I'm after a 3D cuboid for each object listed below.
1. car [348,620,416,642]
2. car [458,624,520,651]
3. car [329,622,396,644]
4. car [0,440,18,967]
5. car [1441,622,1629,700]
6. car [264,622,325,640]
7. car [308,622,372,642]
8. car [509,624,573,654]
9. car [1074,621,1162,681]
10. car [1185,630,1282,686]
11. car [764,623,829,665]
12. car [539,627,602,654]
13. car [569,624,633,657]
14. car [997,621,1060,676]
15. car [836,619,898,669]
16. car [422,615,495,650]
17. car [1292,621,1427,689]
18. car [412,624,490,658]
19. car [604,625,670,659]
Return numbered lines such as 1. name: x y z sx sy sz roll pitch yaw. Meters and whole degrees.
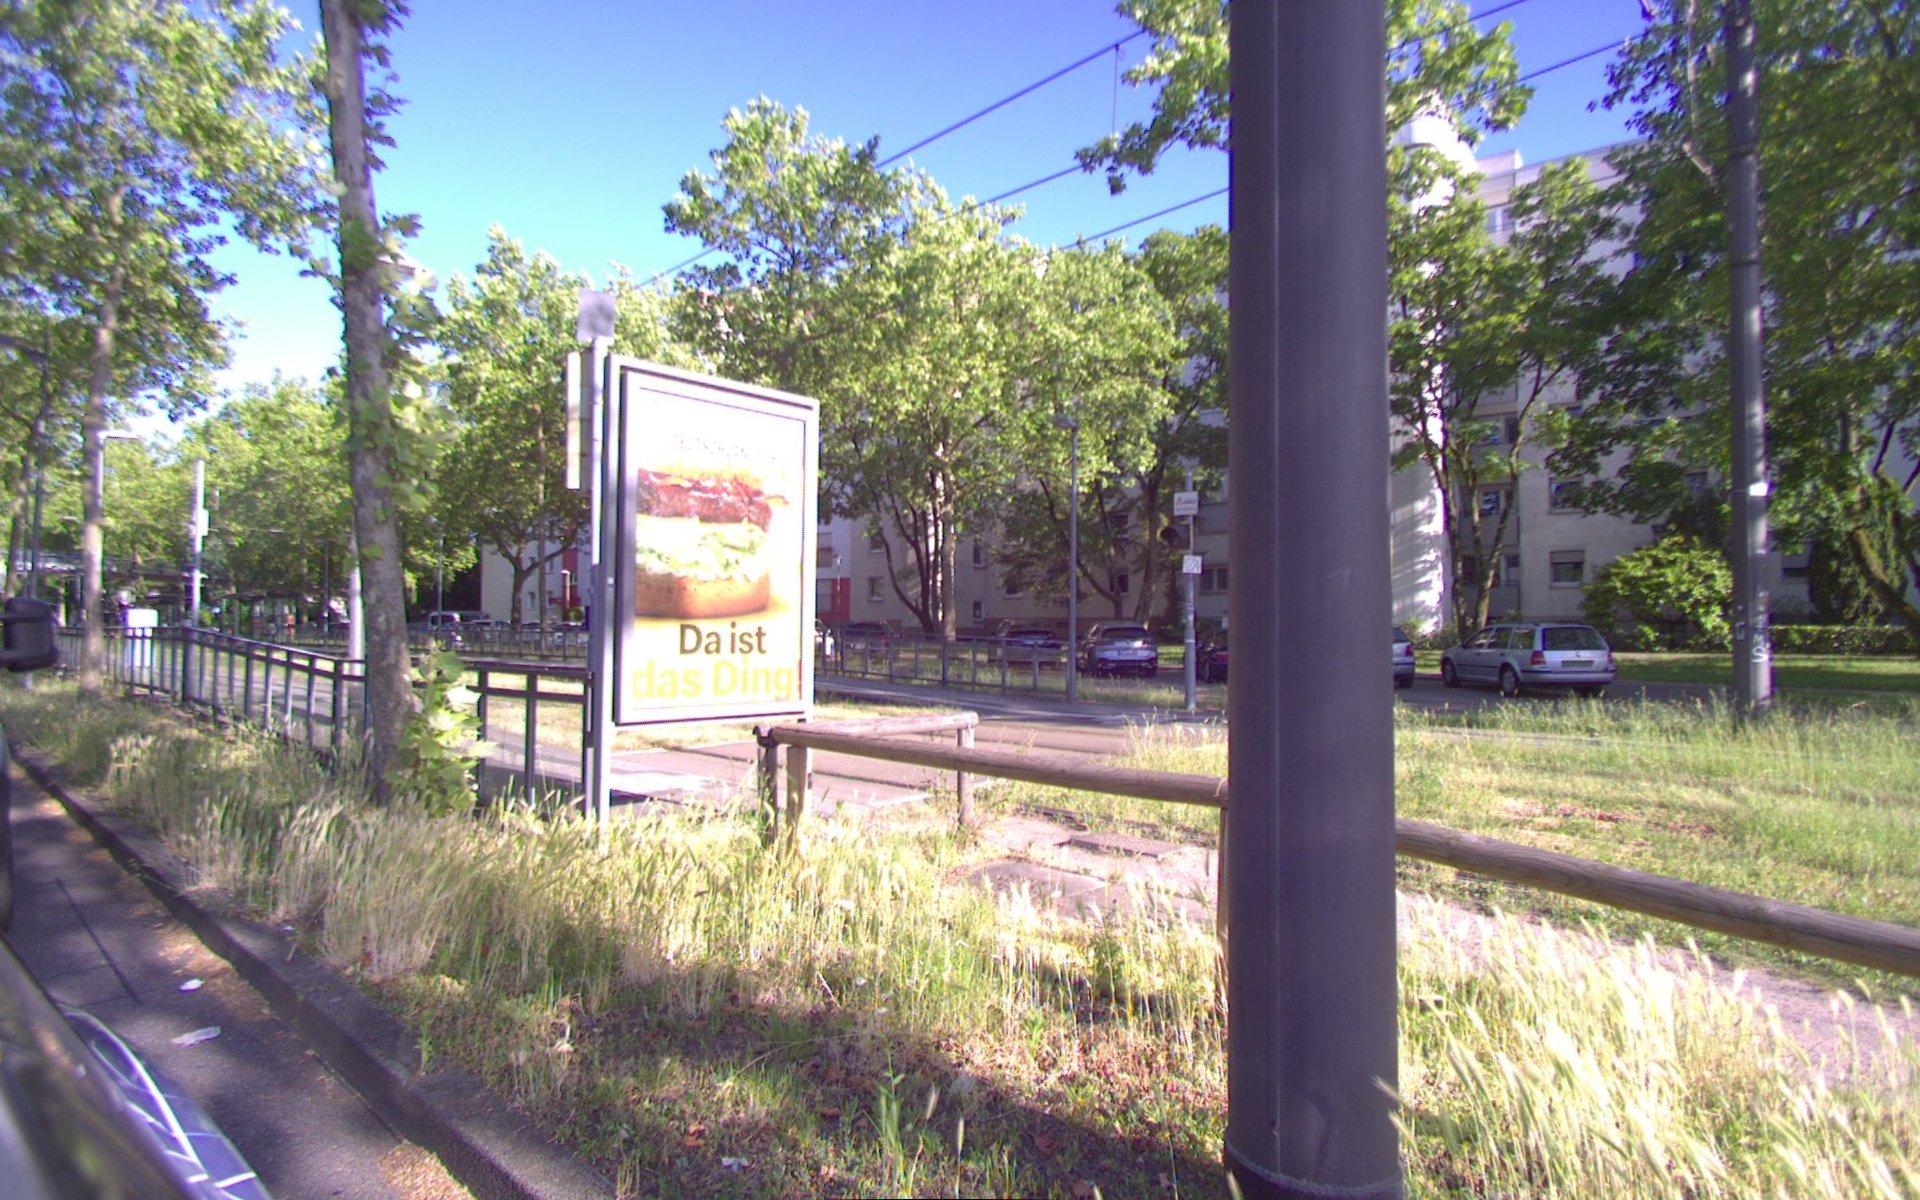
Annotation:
1. car: -37.910 2.029 66.525 1.898 1.386 4.365 0 -1 1
2. car: -25.798 2.029 55.521 1.627 1.407 3.680 0 -1 1
3. car: -40.282 2.197 68.394 1.898 1.386 4.365 0 -1 1
4. car: -6.425 0.449 5.056 5.111 2.131 2.014 -1 -1 41
5. car: 11.548 1.173 20.630 1.707 1.444 3.681 0 -1 1
6. car: -52.145 2.397 79.367 1.898 1.386 4.365 0 -1 1
7. car: -44.644 2.275 72.987 1.898 1.386 4.365 0 -1 1
8. car: -21.123 1.953 51.136 1.627 1.460 3.680 0 -1 1
9. car: 4.207 1.342 27.495 1.894 1.507 3.680 0 -1 2
10. car: 6.729 1.397 25.209 1.602 1.256 3.677 0 -1 4
11. car: -5.909 1.567 36.920 1.664 1.444 3.679 0 -1 2
12. car: -19.046 1.975 49.669 1.627 1.251 3.680 0 -1 1
13. car: -16.682 1.837 47.139 1.627 1.460 3.680 0 -1 1
14. car: 1.934 1.363 29.448 1.664 1.482 3.680 0 -1 1
15. car: -3.107 1.454 34.470 1.664 1.579 3.679 0 -1 2
16. car: -28.326 1.820 57.330 1.898 1.898 4.365 0 -1 1
17. car: 9.153 1.215 23.530 1.679 1.444 3.681 0 -1 1
18. car: -22.069 1.740 43.812 3.757 1.431 1.801 -1 -2 43
19. car: -14.083 1.814 44.283 1.627 1.403 3.679 0 -1 2
